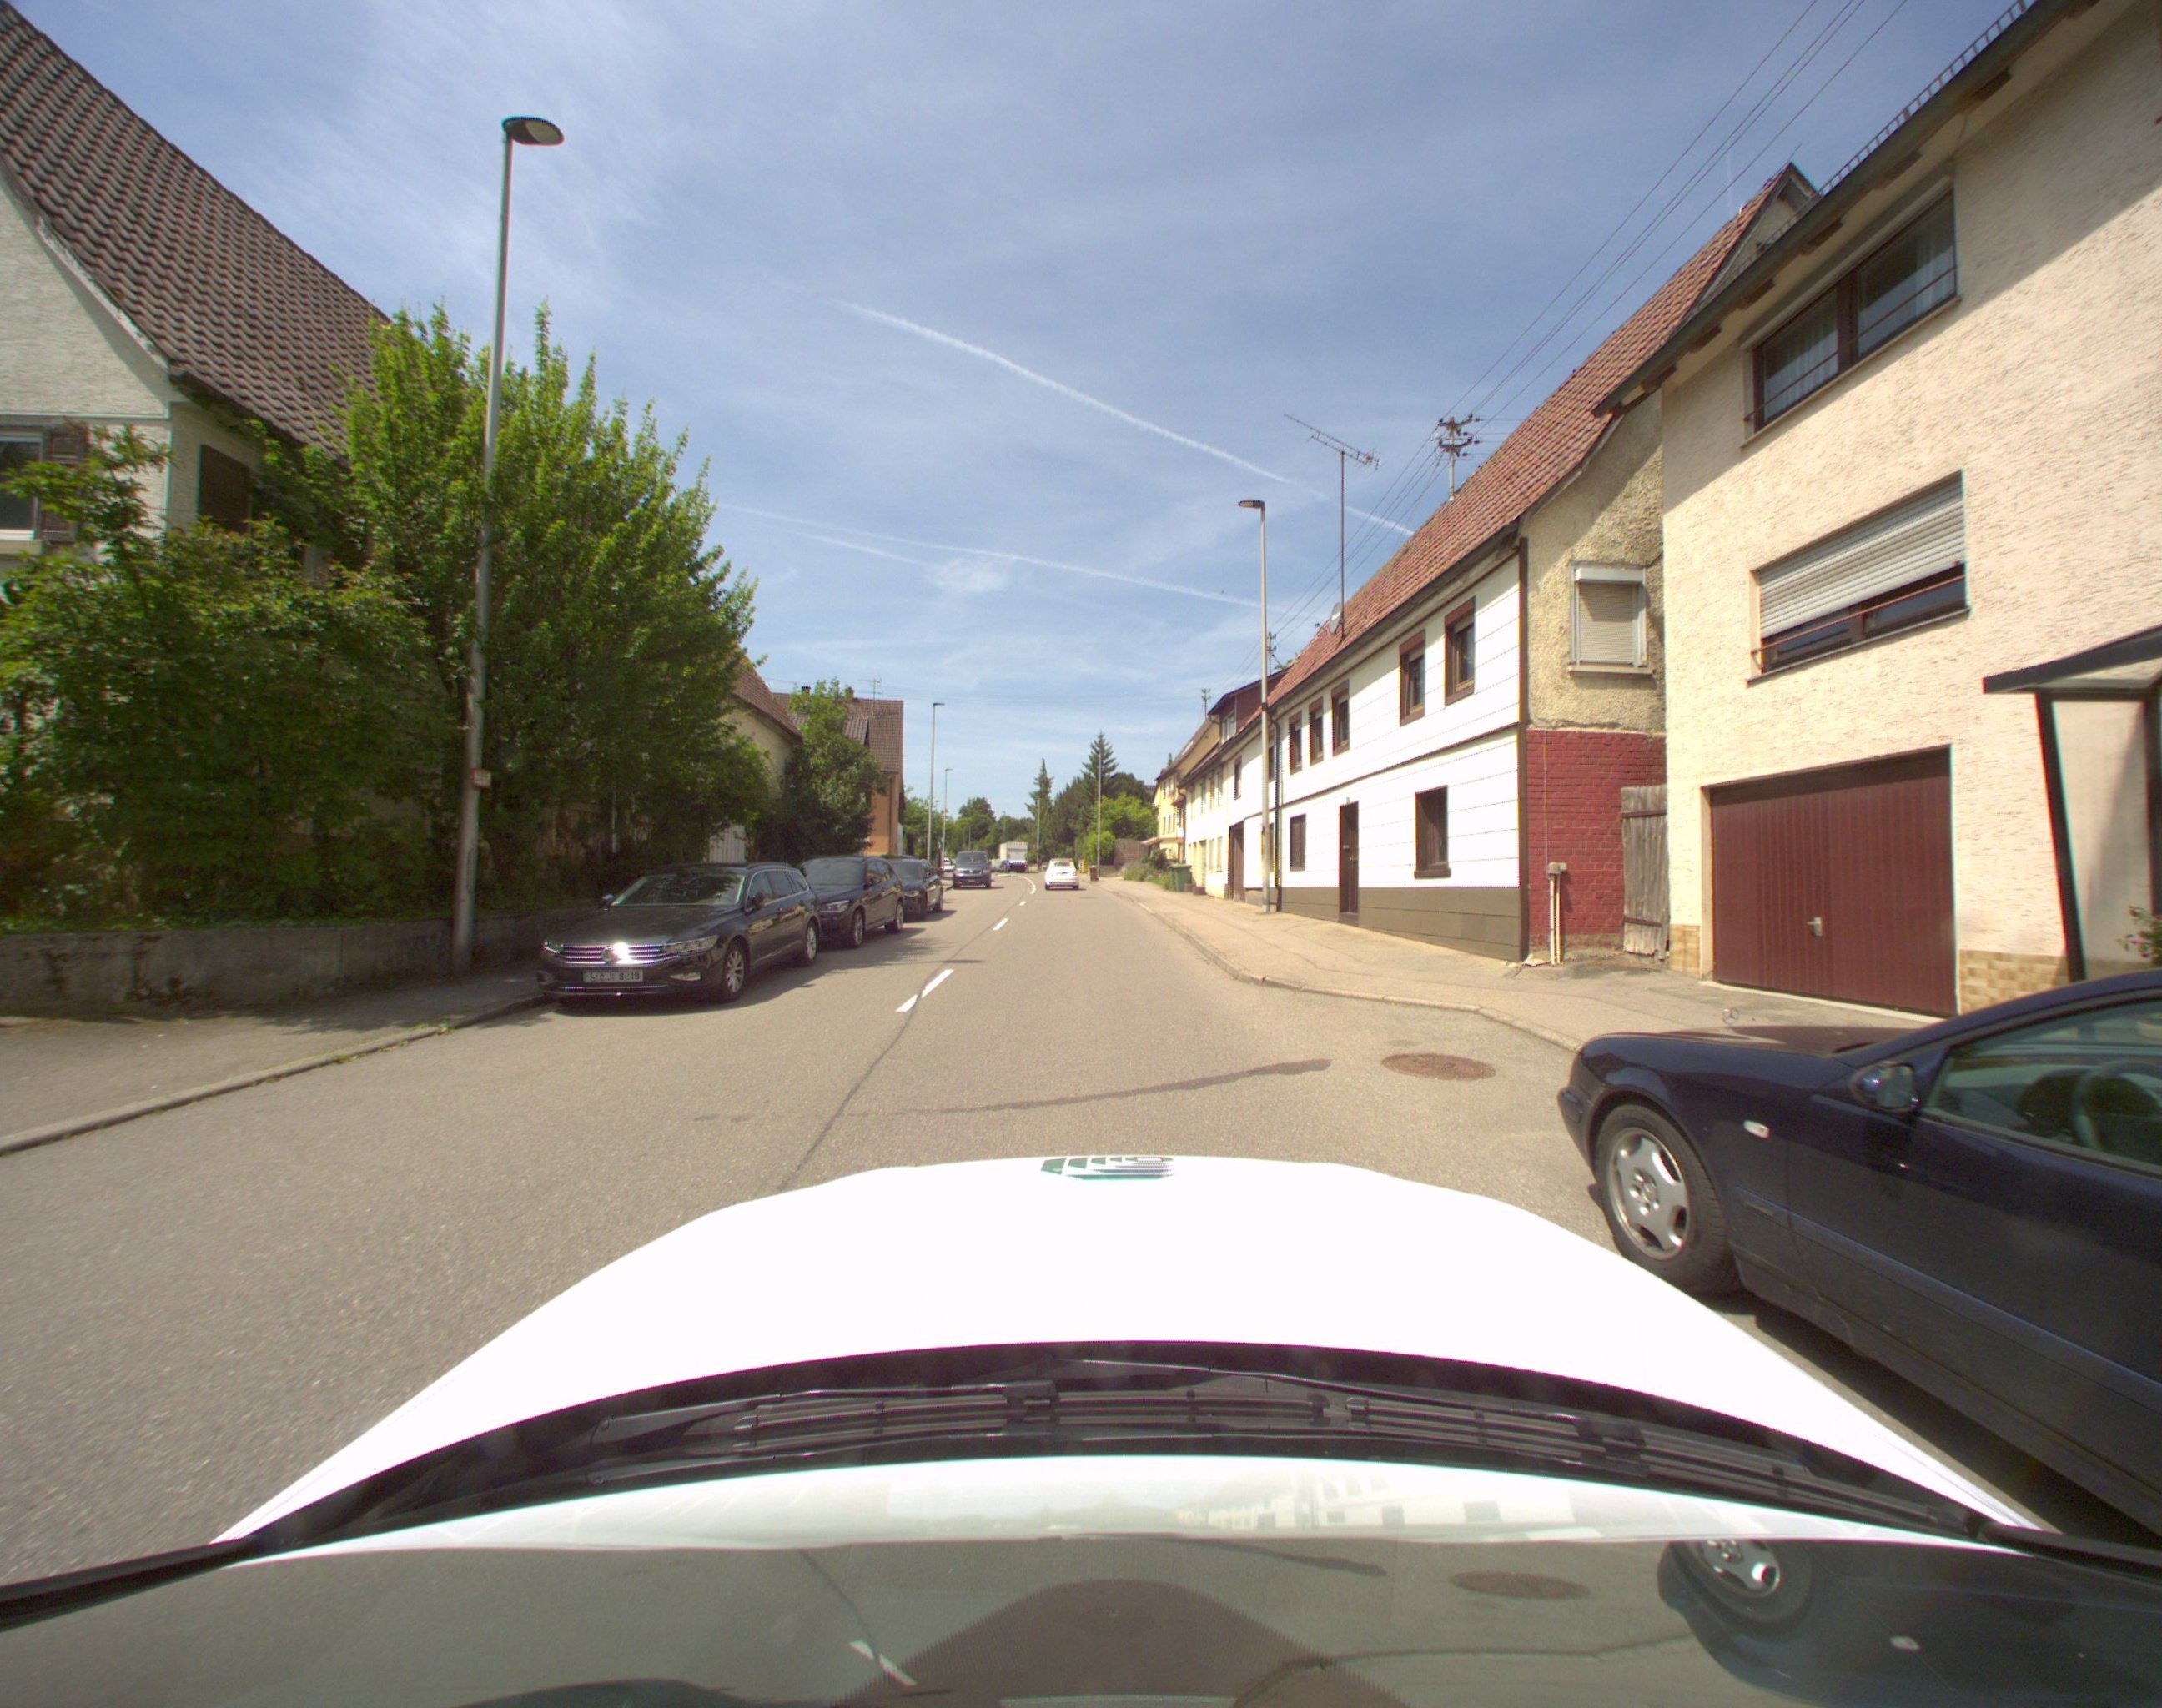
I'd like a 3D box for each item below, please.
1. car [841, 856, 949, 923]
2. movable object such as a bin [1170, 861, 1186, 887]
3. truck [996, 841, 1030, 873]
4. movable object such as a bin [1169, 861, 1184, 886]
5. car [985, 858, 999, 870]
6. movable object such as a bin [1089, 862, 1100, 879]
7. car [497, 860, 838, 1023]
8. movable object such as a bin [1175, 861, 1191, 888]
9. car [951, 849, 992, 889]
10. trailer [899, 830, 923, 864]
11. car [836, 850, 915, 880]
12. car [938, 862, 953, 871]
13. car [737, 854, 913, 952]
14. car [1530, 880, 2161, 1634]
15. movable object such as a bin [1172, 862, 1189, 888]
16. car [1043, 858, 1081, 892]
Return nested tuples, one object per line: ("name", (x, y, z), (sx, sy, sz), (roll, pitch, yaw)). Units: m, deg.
("car", (-4.622, 0.817, 20.938), (1.814, 1.473, 4.772), (0, 0, -2))
("movable object such as a bin", (4.078, 0.846, 34.246), (0.545, 1.033, 0.551), (-3, 0, -3))
("truck", (-8.432, 0.478, 100.130), (3.071, 3.774, 7.833), (0, -1, -13))
("movable object such as a bin", (4.083, 0.824, 34.844), (0.545, 1.033, 0.551), (-3, 0, -3))
("car", (-13.878, 1.573, 127.029), (1.537, 1.670, 3.979), (2, 0, -16))
("movable object such as a bin", (0.845, 1.021, 50.830), (0.490, 1.033, 0.551), (-4, -1, 18))
("car", (-4.508, 0.817, 9.857), (1.783, 1.463, 4.710), (-1, 0, -1))
("movable object such as a bin", (4.131, 0.834, 33.041), (0.545, 1.033, 0.551), (-3, 0, -3))
("car", (-5.642, 0.752, 42.581), (1.888, 1.937, 4.976), (-1, -1, -6))
("trailer", (-14.911, -0.578, 71.770), (1.712, 2.848, 6.154), (1, -1, -9))
("car", (-11.954, 0.624, 47.553), (4.229, 1.405, 1.815), (4, -1, -11))
("car", (-20.079, 1.882, 121.012), (1.808, 1.398, 3.979), (0, -1, -15))
("car", (-4.488, 0.777, 15.010), (1.748, 1.521, 4.302), (0, 0, 2))
("car", (2.853, 0.786, 1.558), (1.661, 1.352, 4.185), (0, 0, -1))
("movable object such as a bin", (4.109, 0.848, 33.644), (0.545, 1.033, 0.551), (-3, 0, -3))
("car", (-0.892, 0.996, 40.483), (1.719, 1.560, 4.000), (-1, -1, 1))
